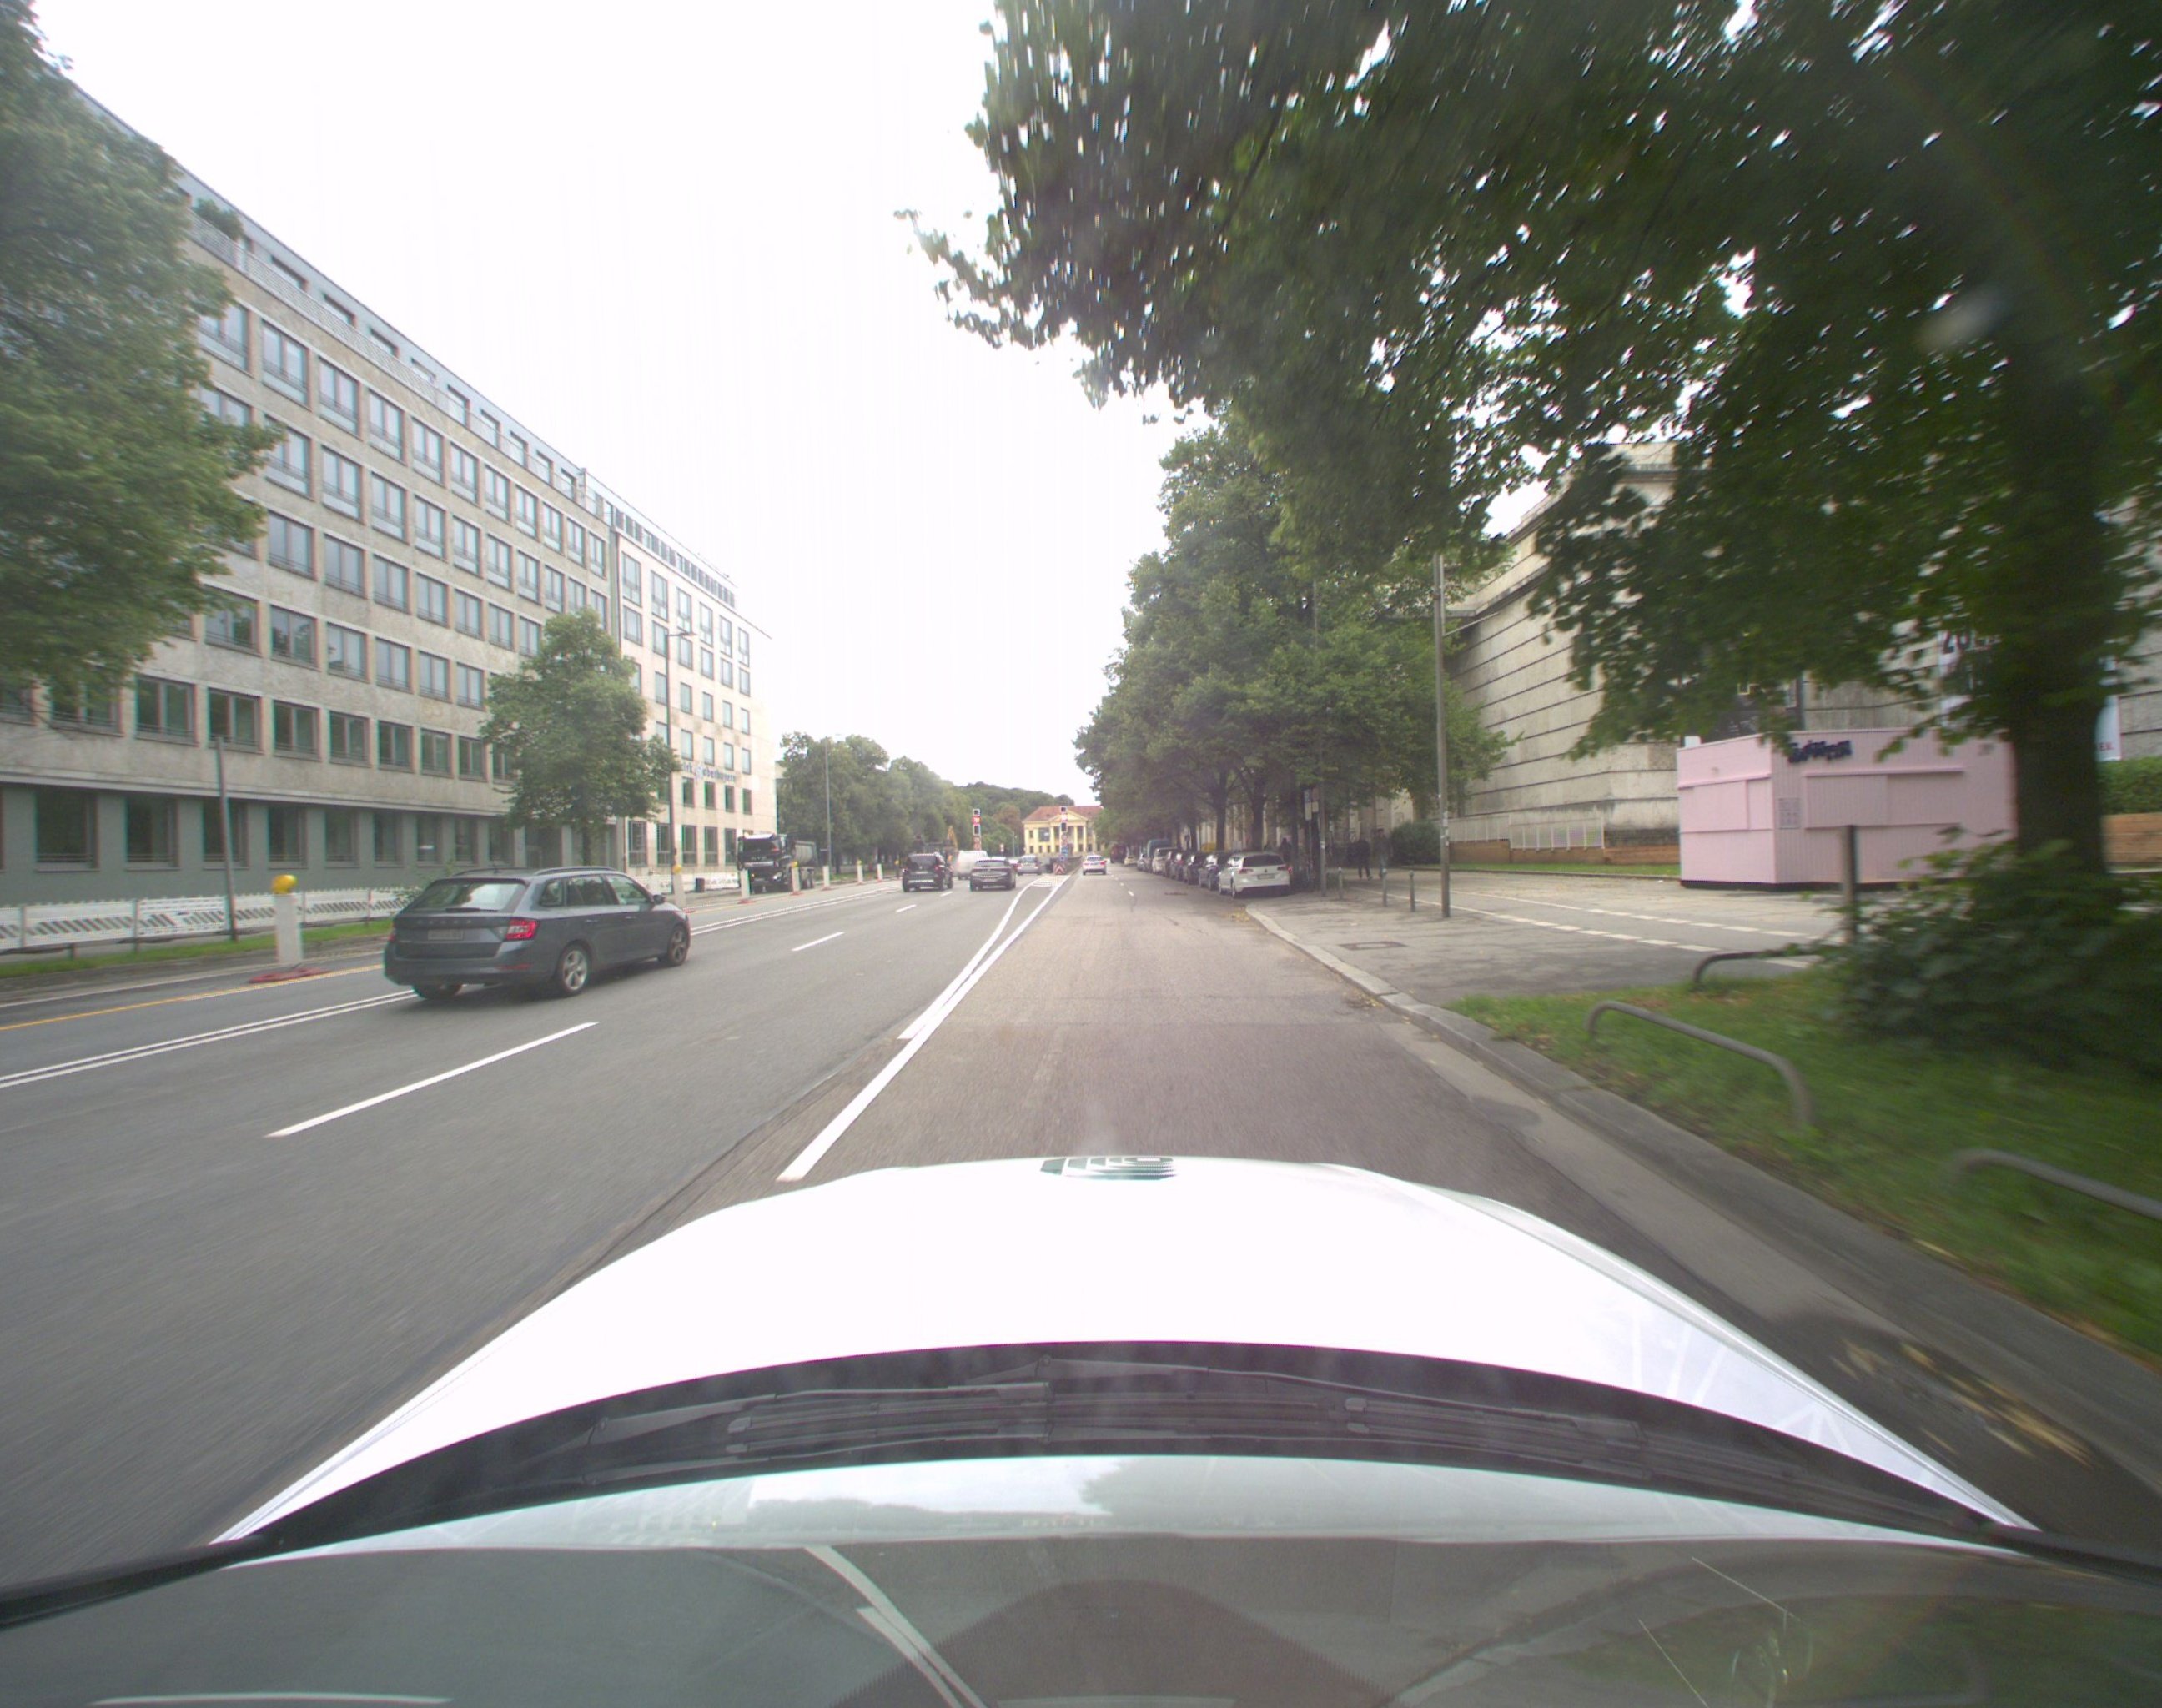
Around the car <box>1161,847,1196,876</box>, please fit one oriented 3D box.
[{"bbox_3d":[6.035,0.441,50.787,1.718,1.665,4.591,-2,0,2],"label":"car"}]

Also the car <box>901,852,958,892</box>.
[{"bbox_3d":[-6.809,0.777,36.947,1.717,1.636,4.204,-2,0,0],"label":"car"}]

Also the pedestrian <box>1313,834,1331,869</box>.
[{"bbox_3d":[13.396,-0.143,45.316,0.776,1.910,0.771,-1,0,1],"label":"pedestrian"}]

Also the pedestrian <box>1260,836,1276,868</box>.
[{"bbox_3d":[11.371,-0.129,49.500,0.776,1.910,0.771,-1,0,1],"label":"pedestrian"}]

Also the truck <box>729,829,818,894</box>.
[{"bbox_3d":[-17.392,0.387,46.741,2.838,3.357,8.741,-1,0,-7],"label":"truck"}]

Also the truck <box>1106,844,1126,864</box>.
[{"bbox_3d":[6.389,-0.009,149.600,3.314,3.367,8.664,-1,0,1],"label":"truck"}]

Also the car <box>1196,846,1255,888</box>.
[{"bbox_3d":[5.874,0.509,33.597,1.718,1.549,4.587,-2,0,2],"label":"car"}]

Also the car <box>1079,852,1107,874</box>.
[{"bbox_3d":[0.893,0.667,62.579,1.776,1.644,3.994,-1,0,-4],"label":"car"}]

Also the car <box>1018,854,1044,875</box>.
[{"bbox_3d":[-3.997,0.816,65.777,1.773,1.654,4.000,-1,0,0],"label":"car"}]

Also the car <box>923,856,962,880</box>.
[{"bbox_3d":[-10.189,1.021,60.214,1.986,1.596,4.001,-2,0,1],"label":"car"}]

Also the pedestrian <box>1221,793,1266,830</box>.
[{"bbox_3d":[9.828,-2.544,49.587,1.986,2.013,4.001,-1,0,1],"label":"pedestrian"}]

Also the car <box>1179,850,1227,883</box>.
[{"bbox_3d":[5.872,0.577,39.647,1.718,1.464,4.777,-2,0,2],"label":"car"}]

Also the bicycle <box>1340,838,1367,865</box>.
[{"bbox_3d":[14.927,-0.149,44.656,0.697,1.415,2.299,-2,0,1],"label":"bicycle"}]

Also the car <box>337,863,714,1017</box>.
[{"bbox_3d":[-6.557,0.891,10.335,1.787,1.447,4.274,-2,0,0],"label":"car"}]

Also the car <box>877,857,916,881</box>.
[{"bbox_3d":[-13.603,1.096,60.219,1.989,1.596,3.996,-2,0,-2],"label":"car"}]

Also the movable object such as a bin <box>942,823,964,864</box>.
[{"bbox_3d":[-20.882,-1.697,133.038,2.690,6.510,5.177,-1,0,1],"label":"movable object such as a bin"}]

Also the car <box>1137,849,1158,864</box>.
[{"bbox_3d":[6.340,0.272,77.454,1.718,1.324,4.029,-2,0,2],"label":"car"}]

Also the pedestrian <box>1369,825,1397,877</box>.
[{"bbox_3d":[11.370,-0.111,30.664,0.761,1.910,0.771,-1,0,1],"label":"pedestrian"}]

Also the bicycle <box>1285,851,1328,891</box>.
[{"bbox_3d":[7.305,0.513,26.539,0.626,1.231,2.617,-1,0,-1],"label":"bicycle"}]

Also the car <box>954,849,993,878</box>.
[{"bbox_3d":[-7.184,0.620,54.848,1.892,1.847,4.955,-2,0,0],"label":"car"}]

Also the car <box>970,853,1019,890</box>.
[{"bbox_3d":[-3.813,0.742,36.390,1.704,1.552,4.000,-1,0,1],"label":"car"}]

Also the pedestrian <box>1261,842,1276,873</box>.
[{"bbox_3d":[11.636,0.239,50.548,0.776,1.910,0.771,-1,0,1],"label":"pedestrian"}]

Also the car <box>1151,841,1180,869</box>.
[{"bbox_3d":[6.042,0.051,58.890,1.718,1.867,4.029,-2,0,2],"label":"car"}]

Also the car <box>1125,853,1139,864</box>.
[{"bbox_3d":[6.993,0.599,112.433,1.718,1.324,4.029,-2,0,2],"label":"car"}]

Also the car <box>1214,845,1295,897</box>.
[{"bbox_3d":[5.784,0.523,27.697,1.821,1.549,4.753,-2,0,2],"label":"car"}]

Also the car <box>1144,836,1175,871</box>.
[{"bbox_3d":[6.303,-0.041,65.744,1.987,2.643,4.876,-1,0,-1],"label":"car"}]

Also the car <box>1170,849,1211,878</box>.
[{"bbox_3d":[6.020,0.525,45.111,1.816,1.464,4.029,-2,0,2],"label":"car"}]

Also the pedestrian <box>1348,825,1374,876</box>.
[{"bbox_3d":[10.614,-0.118,30.882,0.697,1.910,0.771,-1,0,1],"label":"pedestrian"}]

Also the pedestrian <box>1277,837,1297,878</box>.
[{"bbox_3d":[9.802,0.156,38.791,0.776,1.910,0.771,-1,0,1],"label":"pedestrian"}]
